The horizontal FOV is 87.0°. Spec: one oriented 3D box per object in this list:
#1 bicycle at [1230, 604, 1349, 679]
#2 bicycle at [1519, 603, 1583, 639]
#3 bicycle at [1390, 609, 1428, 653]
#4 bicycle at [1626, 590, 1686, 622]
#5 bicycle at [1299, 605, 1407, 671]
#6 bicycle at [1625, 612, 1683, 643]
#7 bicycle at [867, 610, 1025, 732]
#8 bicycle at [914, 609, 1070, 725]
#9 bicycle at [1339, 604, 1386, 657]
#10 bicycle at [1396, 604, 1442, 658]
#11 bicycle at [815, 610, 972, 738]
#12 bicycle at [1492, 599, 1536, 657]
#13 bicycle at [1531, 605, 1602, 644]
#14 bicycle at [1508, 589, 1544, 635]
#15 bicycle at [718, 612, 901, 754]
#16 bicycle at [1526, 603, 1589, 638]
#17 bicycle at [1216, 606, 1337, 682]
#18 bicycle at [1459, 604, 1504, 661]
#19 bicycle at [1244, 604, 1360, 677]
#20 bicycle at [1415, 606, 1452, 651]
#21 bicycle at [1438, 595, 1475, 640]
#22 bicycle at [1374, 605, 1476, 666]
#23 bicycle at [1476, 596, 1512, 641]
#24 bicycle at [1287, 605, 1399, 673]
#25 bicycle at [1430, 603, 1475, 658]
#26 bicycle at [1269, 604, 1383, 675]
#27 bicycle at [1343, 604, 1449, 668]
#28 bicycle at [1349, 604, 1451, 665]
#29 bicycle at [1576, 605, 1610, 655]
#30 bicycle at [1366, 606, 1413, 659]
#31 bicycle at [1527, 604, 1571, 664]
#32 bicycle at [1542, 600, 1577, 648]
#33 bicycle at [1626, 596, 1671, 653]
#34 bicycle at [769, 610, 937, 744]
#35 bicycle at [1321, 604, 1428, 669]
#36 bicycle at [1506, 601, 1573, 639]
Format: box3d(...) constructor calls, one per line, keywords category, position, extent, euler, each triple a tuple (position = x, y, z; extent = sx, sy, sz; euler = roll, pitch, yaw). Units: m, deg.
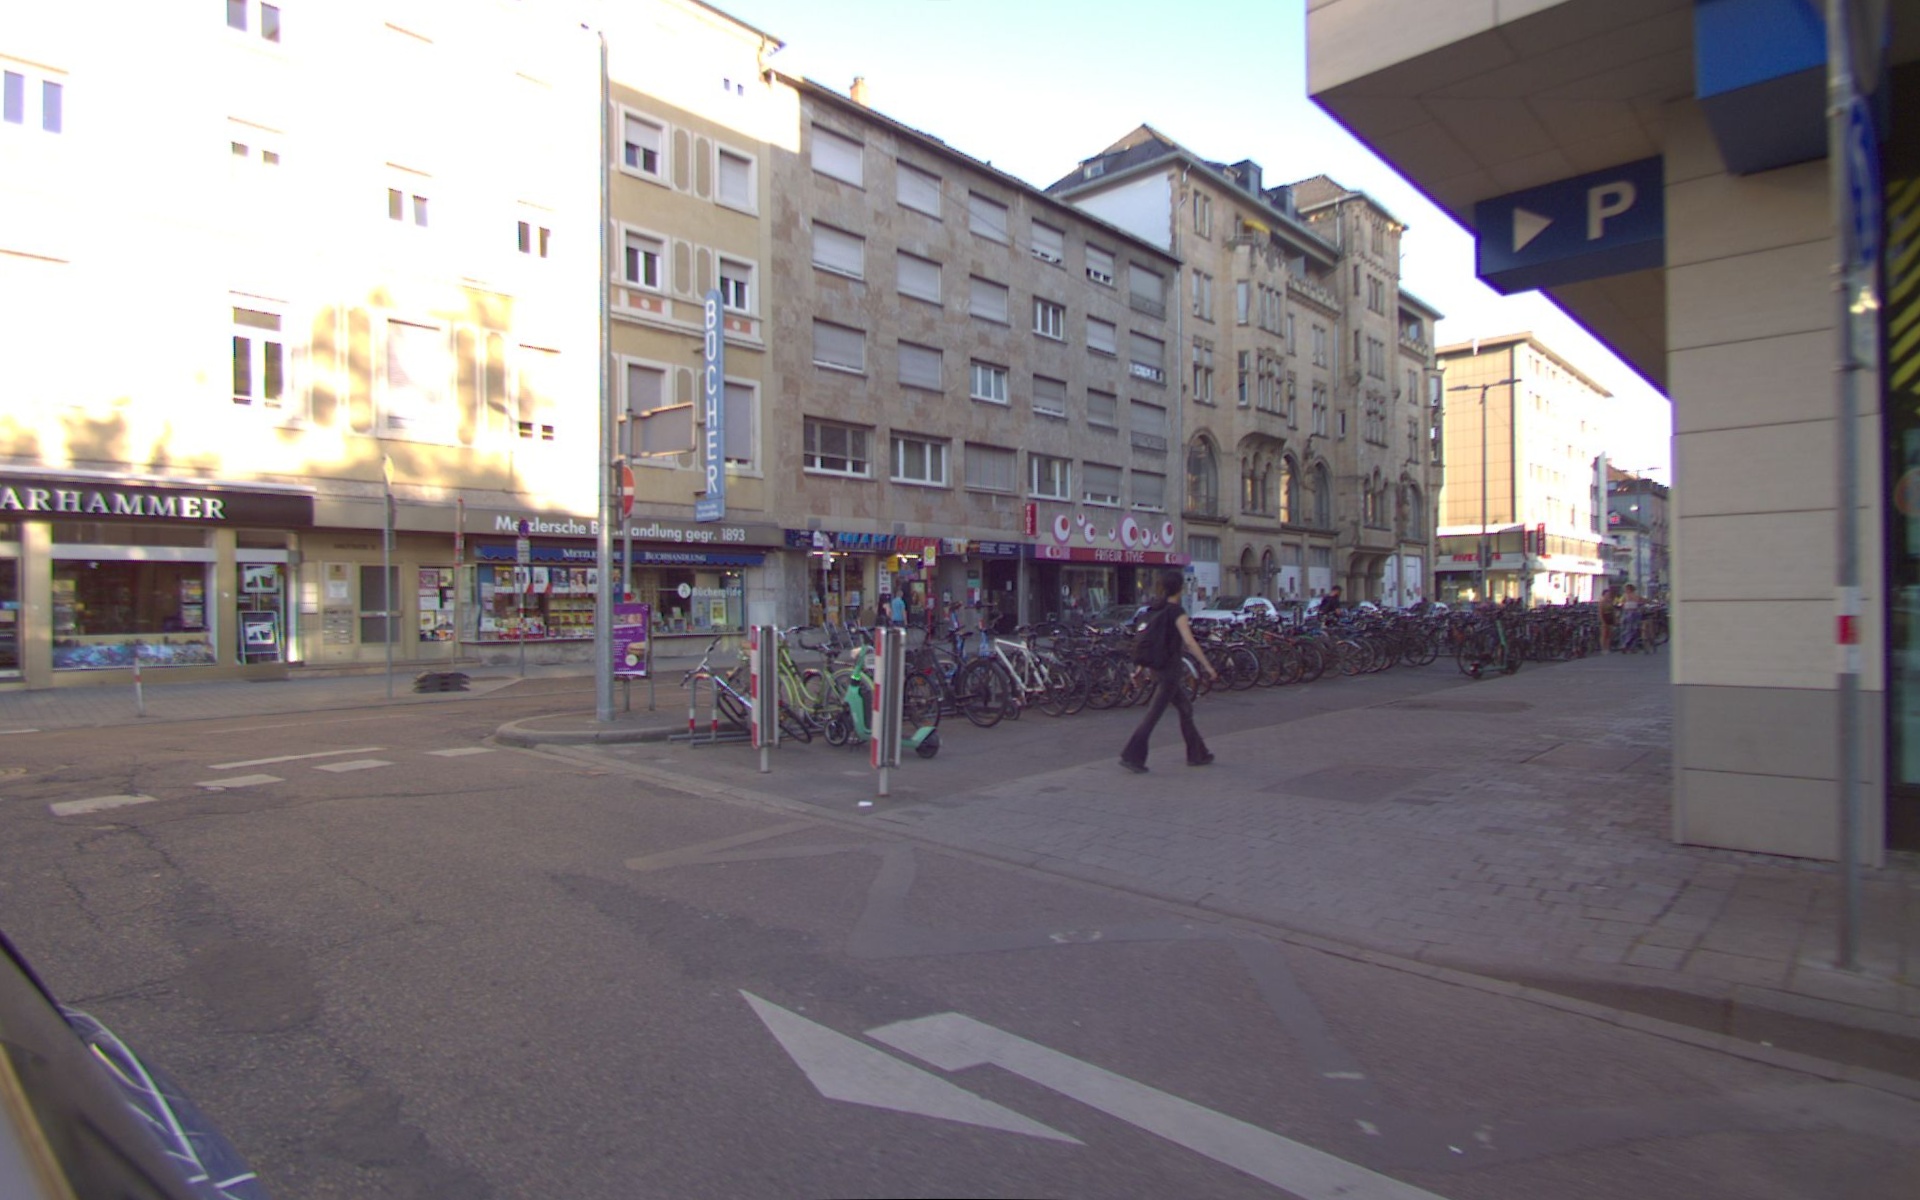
box3d(category="bicycle", position=(5.849, 0.715, 18.052), extent=(1.978, 1.264, 0.506), euler=(0, 0, 42))
box3d(category="bicycle", position=(21.605, 0.762, 36.998), extent=(1.974, 1.264, 0.507), euler=(0, 0, 35))
box3d(category="bicycle", position=(13.472, 0.917, 30.348), extent=(0.513, 1.264, 1.952), euler=(0, 0, 40))
box3d(category="bicycle", position=(28.054, 0.253, 40.831), extent=(1.974, 1.264, 0.507), euler=(0, 0, 35))
box3d(category="bicycle", position=(7.839, 0.739, 20.258), extent=(1.978, 1.264, 0.506), euler=(0, 0, 42))
box3d(category="bicycle", position=(28.848, 1.129, 42.107), extent=(1.974, 1.264, 0.507), euler=(0, 0, 35))
box3d(category="bicycle", position=(-0.194, 0.757, 11.494), extent=(1.978, 1.264, 0.506), euler=(0, 0, 42))
box3d(category="bicycle", position=(0.346, 0.749, 12.052), extent=(1.978, 1.264, 0.506), euler=(0, 0, 41))
box3d(category="bicycle", position=(10.321, 0.758, 25.914), extent=(0.513, 1.264, 1.952), euler=(0, 0, 40))
box3d(category="bicycle", position=(11.352, 0.735, 24.987), extent=(0.513, 1.264, 1.952), euler=(0, 0, 40))
box3d(category="bicycle", position=(-0.759, 0.753, 10.999), extent=(1.979, 1.264, 0.506), euler=(0, 0, 44))
box3d(category="bicycle", position=(12.910, 0.627, 23.573), extent=(0.513, 1.264, 1.952), euler=(0, 0, 40))
box3d(category="bicycle", position=(20.108, 0.786, 33.582), extent=(1.978, 1.264, 0.506), euler=(0, 0, 42))
box3d(category="bicycle", position=(15.909, 0.321, 28.439), extent=(0.513, 1.264, 1.952), euler=(0, 0, 40))
box3d(category="bicycle", position=(-1.525, 0.757, 10.013), extent=(2.042, 1.264, 0.575), euler=(0, 0, 40))
box3d(category="bicycle", position=(22.169, 0.756, 37.563), extent=(1.974, 1.264, 0.507), euler=(0, 0, 35))
box3d(category="bicycle", position=(5.468, 0.732, 17.597), extent=(1.978, 1.264, 0.506), euler=(0, 0, 42))
box3d(category="bicycle", position=(12.407, 0.745, 24.057), extent=(0.513, 1.264, 1.952), euler=(0, 0, 40))
box3d(category="bicycle", position=(6.234, 0.710, 18.544), extent=(1.978, 1.264, 0.506), euler=(0, 0, 42))
box3d(category="bicycle", position=(14.085, 0.825, 30.063), extent=(0.513, 1.264, 1.952), euler=(0, 0, 40))
box3d(category="bicycle", position=(14.560, 0.496, 29.662), extent=(0.513, 1.264, 1.952), euler=(0, 0, 40))
box3d(category="bicycle", position=(10.154, 0.748, 22.164), extent=(1.978, 1.264, 0.506), euler=(0, 0, 42))
box3d(category="bicycle", position=(15.375, 0.508, 29.124), extent=(0.513, 1.264, 1.952), euler=(0, 0, 40))
box3d(category="bicycle", position=(7.414, 0.723, 19.647), extent=(1.978, 1.264, 0.506), euler=(0, 0, 42))
box3d(category="bicycle", position=(11.912, 0.722, 24.468), extent=(0.513, 1.264, 1.952), euler=(0, 0, 40))
box3d(category="bicycle", position=(6.864, 0.717, 19.043), extent=(1.978, 1.264, 0.506), euler=(0, 0, 42))
box3d(category="bicycle", position=(9.102, 0.727, 21.200), extent=(1.978, 1.264, 0.506), euler=(0, 0, 42))
box3d(category="bicycle", position=(9.468, 0.712, 21.830), extent=(1.978, 1.264, 0.506), euler=(0, 0, 42))
box3d(category="bicycle", position=(17.085, 0.784, 27.291), extent=(0.513, 1.264, 1.952), euler=(0, 0, 40))
box3d(category="bicycle", position=(10.834, 0.784, 25.501), extent=(0.513, 1.264, 1.952), euler=(0, 0, 40))
box3d(category="bicycle", position=(13.286, 0.743, 22.807), extent=(0.513, 1.264, 1.952), euler=(0, 0, 40))
box3d(category="bicycle", position=(16.472, 0.631, 27.787), extent=(0.513, 1.264, 1.952), euler=(0, 0, 40))
box3d(category="bicycle", position=(16.070, 0.550, 23.602), extent=(0.612, 1.264, 1.951), euler=(0, 0, 42))
box3d(category="bicycle", position=(-1.153, 0.745, 10.525), extent=(1.977, 1.264, 0.506), euler=(0, 0, 40))
box3d(category="bicycle", position=(8.464, 0.723, 20.725), extent=(1.978, 1.264, 0.506), euler=(0, 0, 42))
box3d(category="bicycle", position=(20.056, 0.686, 35.039), extent=(1.974, 1.264, 0.507), euler=(0, 0, 35))
